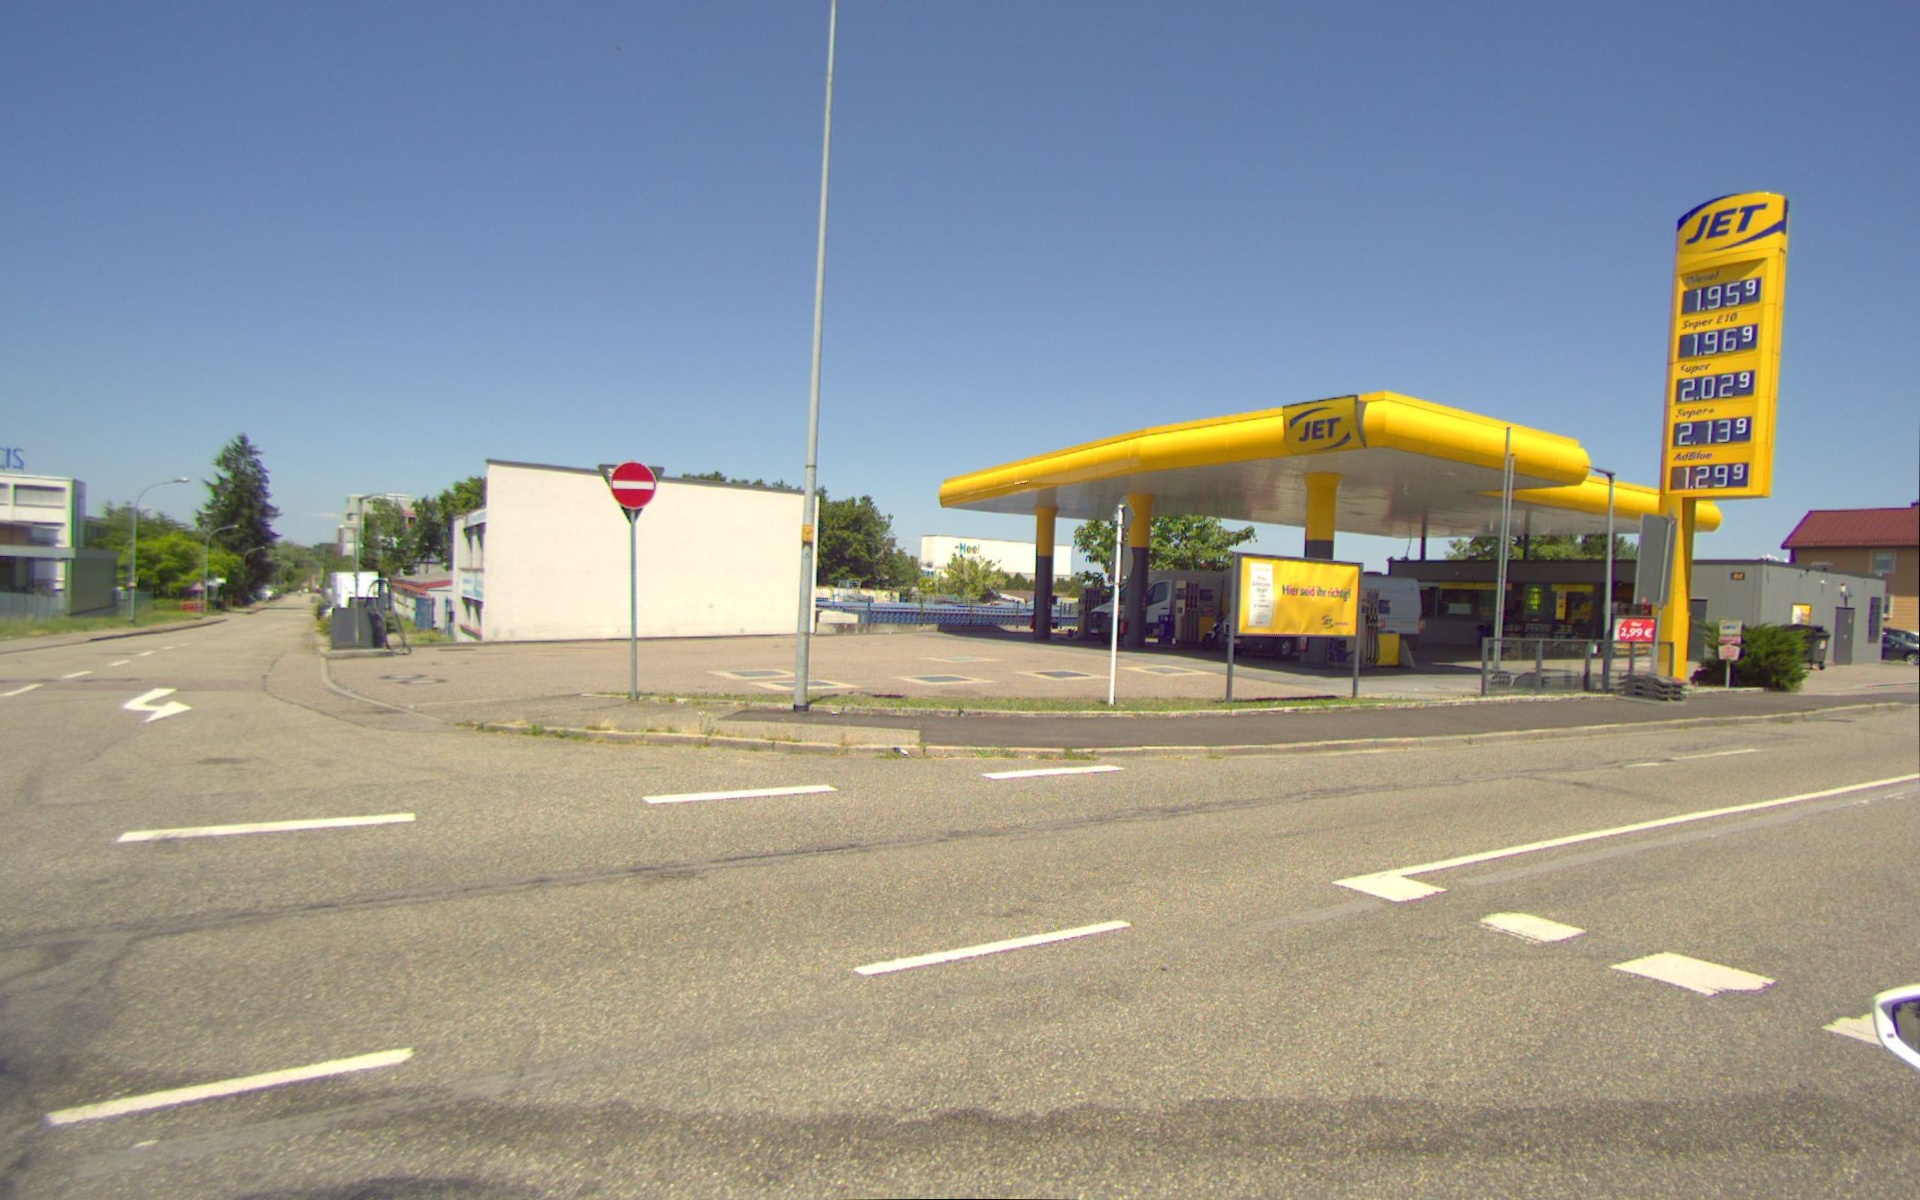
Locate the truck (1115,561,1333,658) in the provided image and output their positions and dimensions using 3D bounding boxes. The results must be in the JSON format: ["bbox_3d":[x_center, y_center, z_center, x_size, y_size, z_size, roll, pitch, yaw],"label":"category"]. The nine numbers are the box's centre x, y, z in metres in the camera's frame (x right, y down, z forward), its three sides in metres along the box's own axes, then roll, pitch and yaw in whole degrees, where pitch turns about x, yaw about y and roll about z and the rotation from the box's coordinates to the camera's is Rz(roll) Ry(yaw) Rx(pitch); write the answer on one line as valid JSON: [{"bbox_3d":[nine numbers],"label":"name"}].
[{"bbox_3d":[8.878,0.349,33.963,6.619,2.952,2.640,2,0,-15],"label":"truck"}]

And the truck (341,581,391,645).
[{"bbox_3d":[-33.898,0.697,57.233,2.282,3.468,4.681,2,0,-32],"label":"truck"}]

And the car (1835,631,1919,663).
[{"bbox_3d":[48.003,2.422,52.070,1.875,1.477,3.637,2,0,-37],"label":"car"}]

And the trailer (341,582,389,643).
[{"bbox_3d":[-35.815,0.691,60.380,2.282,3.455,7.257,2,0,-32],"label":"trailer"}]

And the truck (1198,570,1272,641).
[{"bbox_3d":[13.210,0.234,48.258,3.157,3.286,1.833,0,1,-35],"label":"truck"}]

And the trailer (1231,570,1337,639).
[{"bbox_3d":[16.325,0.246,50.466,5.854,3.262,1.852,1,1,-35],"label":"trailer"}]

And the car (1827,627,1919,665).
[{"bbox_3d":[46.468,2.312,50.802,1.875,1.732,3.636,2,0,-37],"label":"car"}]

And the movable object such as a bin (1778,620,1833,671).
[{"bbox_3d":[28.213,1.497,33.526,1.413,1.538,0.946,0,5,-35],"label":"movable object such as a bin"}]

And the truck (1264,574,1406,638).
[{"bbox_3d":[21.605,0.287,58.348,2.134,3.472,7.817,2,0,-35],"label":"truck"}]

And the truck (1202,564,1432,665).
[{"bbox_3d":[10.214,0.465,28.571,6.647,2.633,2.225,2,0,-28],"label":"truck"}]

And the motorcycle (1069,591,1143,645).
[{"bbox_3d":[5.698,0.705,39.182,2.753,2.040,0.835,2,0,-23],"label":"motorcycle"}]
